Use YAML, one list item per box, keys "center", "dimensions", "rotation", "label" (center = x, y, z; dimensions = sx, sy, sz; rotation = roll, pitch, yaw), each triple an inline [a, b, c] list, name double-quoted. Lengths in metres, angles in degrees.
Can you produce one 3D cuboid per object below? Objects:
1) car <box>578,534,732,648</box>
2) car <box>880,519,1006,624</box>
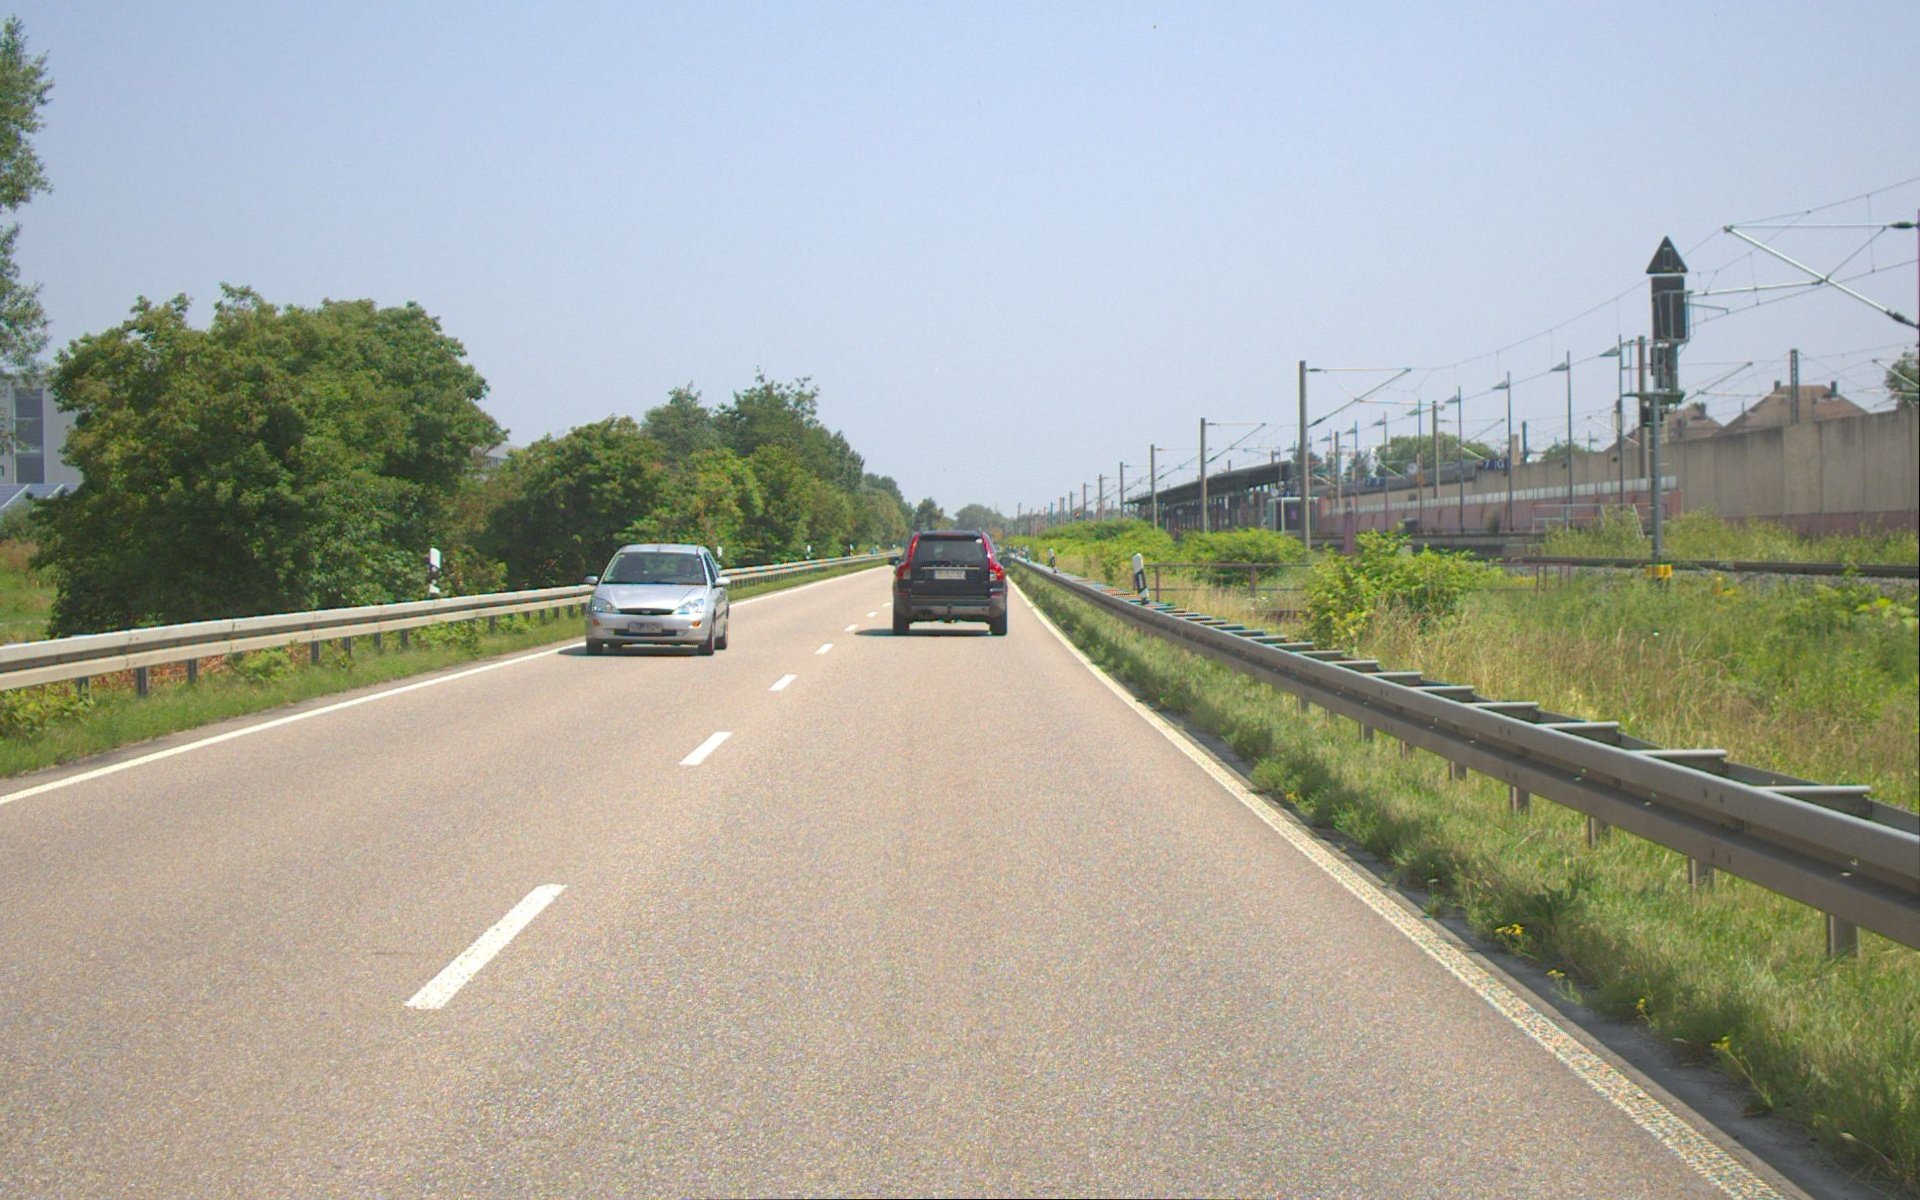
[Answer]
- center: [-4.134, -0.162, 47.193]
  dimensions: [1.698, 1.469, 4.687]
  rotation: [1, 1, 0]
  label: "car"
- center: [-0.320, -0.496, 57.340]
  dimensions: [1.993, 1.694, 4.001]
  rotation: [0, 1, -2]
  label: "car"
